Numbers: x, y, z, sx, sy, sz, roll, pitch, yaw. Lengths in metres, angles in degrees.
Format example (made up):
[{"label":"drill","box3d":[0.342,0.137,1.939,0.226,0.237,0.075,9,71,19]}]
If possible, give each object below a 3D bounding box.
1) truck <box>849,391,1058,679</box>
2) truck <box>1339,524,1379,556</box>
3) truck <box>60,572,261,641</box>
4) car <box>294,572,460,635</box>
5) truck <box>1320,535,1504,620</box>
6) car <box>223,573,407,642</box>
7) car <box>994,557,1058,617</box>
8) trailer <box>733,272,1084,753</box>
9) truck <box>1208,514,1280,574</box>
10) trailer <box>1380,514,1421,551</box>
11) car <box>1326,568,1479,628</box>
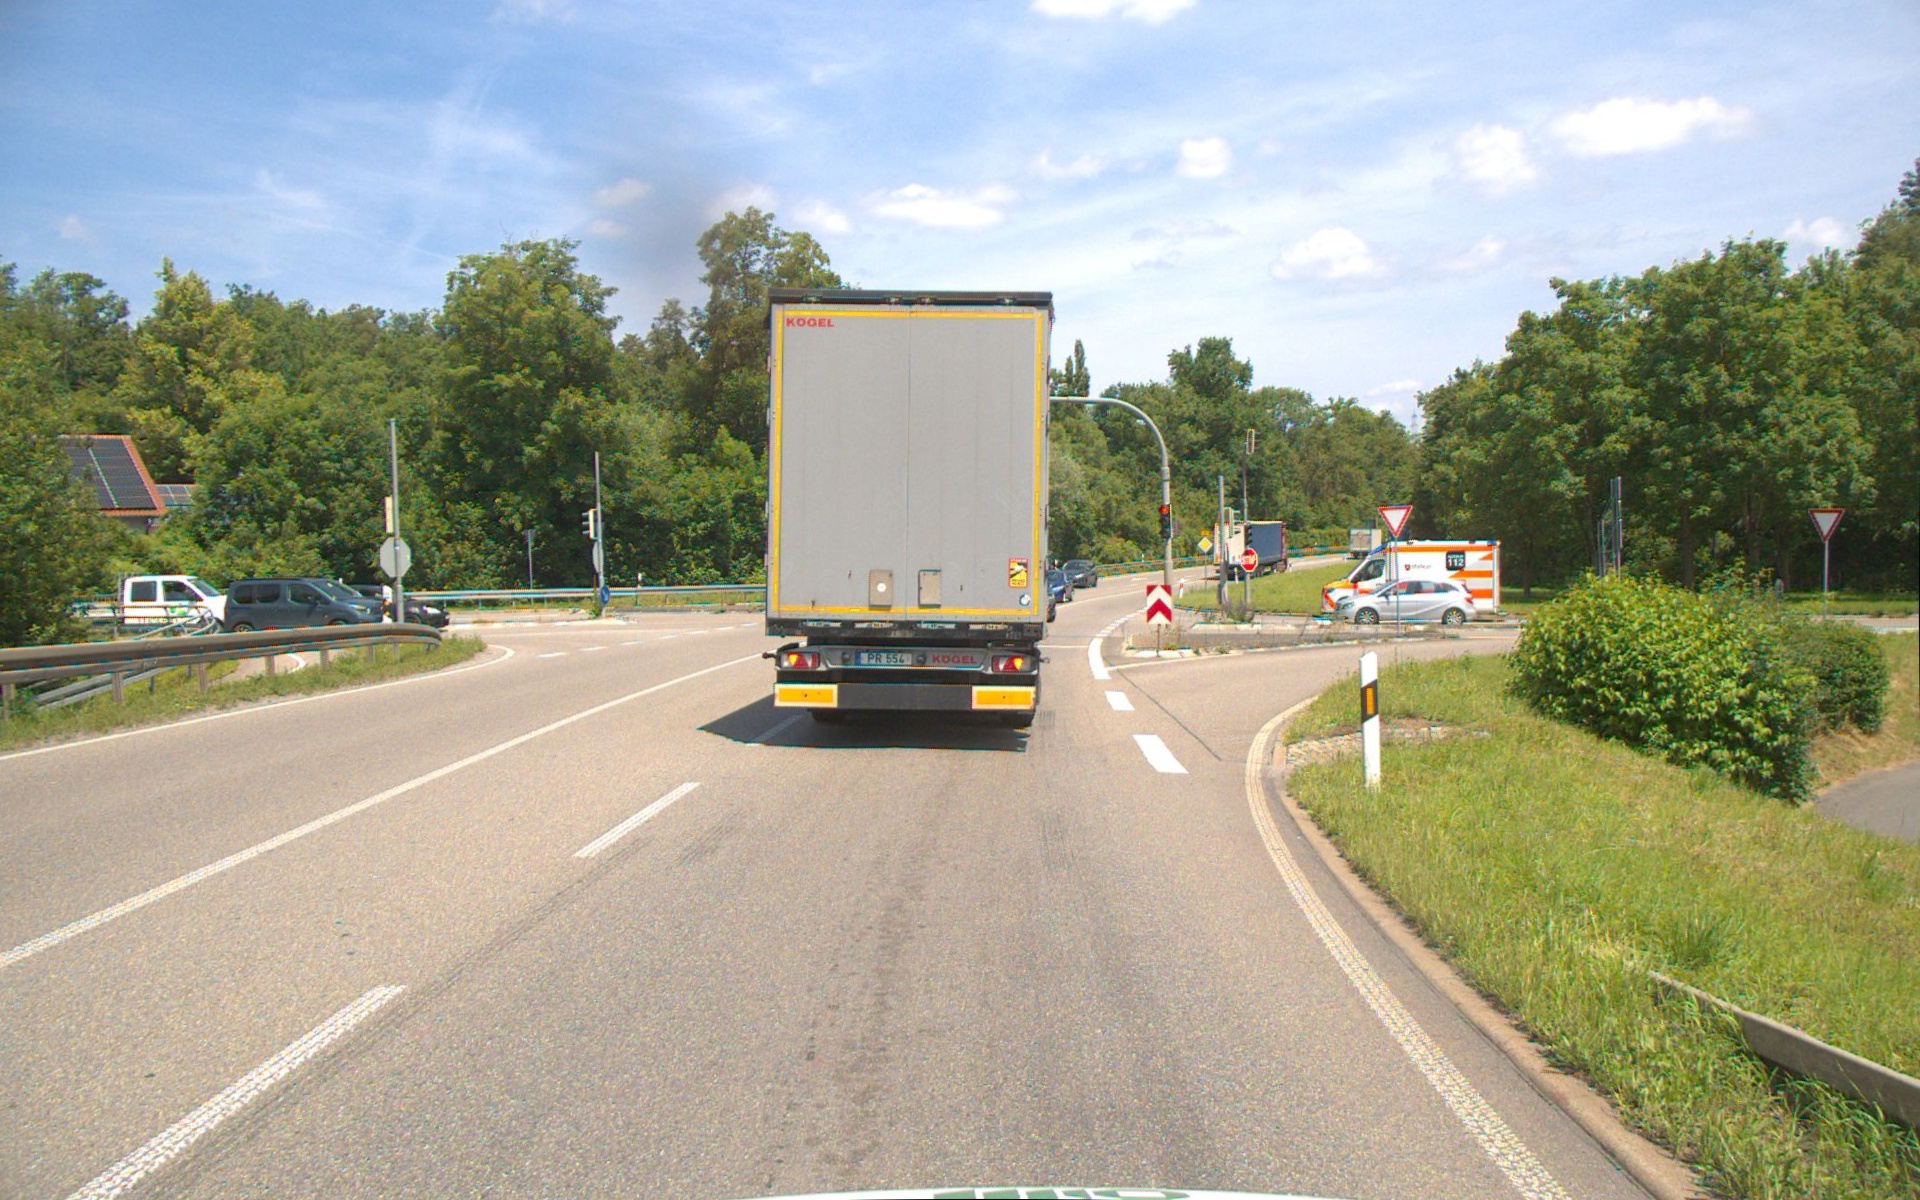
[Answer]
[{"label":"truck","box3d":[0.022,-0.979,27.022,2.975,4.104,6.631,0,1,2]},{"label":"truck","box3d":[39.927,-5.956,165.403,2.797,2.999,7.104,1,1,22]},{"label":"truck","box3d":[-22.937,0.207,47.656,4.790,1.823,2.037,2,-1,-12]},{"label":"car","box3d":[-17.052,0.096,48.485,4.143,1.801,2.002,0,0,10]},{"label":"truck","box3d":[15.570,-0.784,56.992,5.887,2.775,2.502,1,-1,21]},{"label":"car","box3d":[-17.258,0.193,44.354,4.143,1.801,2.002,0,0,10]},{"label":"car","box3d":[2.270,-0.398,55.723,1.951,1.816,4.944,1,-1,4]},{"label":"trailer","box3d":[-0.219,-0.842,20.458,2.988,4.104,12.563,0,1,2]},{"label":"truck","box3d":[20.799,-4.009,120.512,3.113,4.099,11.748,1,1,20]},{"label":"trailer","box3d":[47.912,-7.312,179.780,3.185,3.749,9.250,1,1,22]},{"label":"car","box3d":[13.818,-0.035,51.847,4.334,1.748,2.001,1,-1,5]}]
